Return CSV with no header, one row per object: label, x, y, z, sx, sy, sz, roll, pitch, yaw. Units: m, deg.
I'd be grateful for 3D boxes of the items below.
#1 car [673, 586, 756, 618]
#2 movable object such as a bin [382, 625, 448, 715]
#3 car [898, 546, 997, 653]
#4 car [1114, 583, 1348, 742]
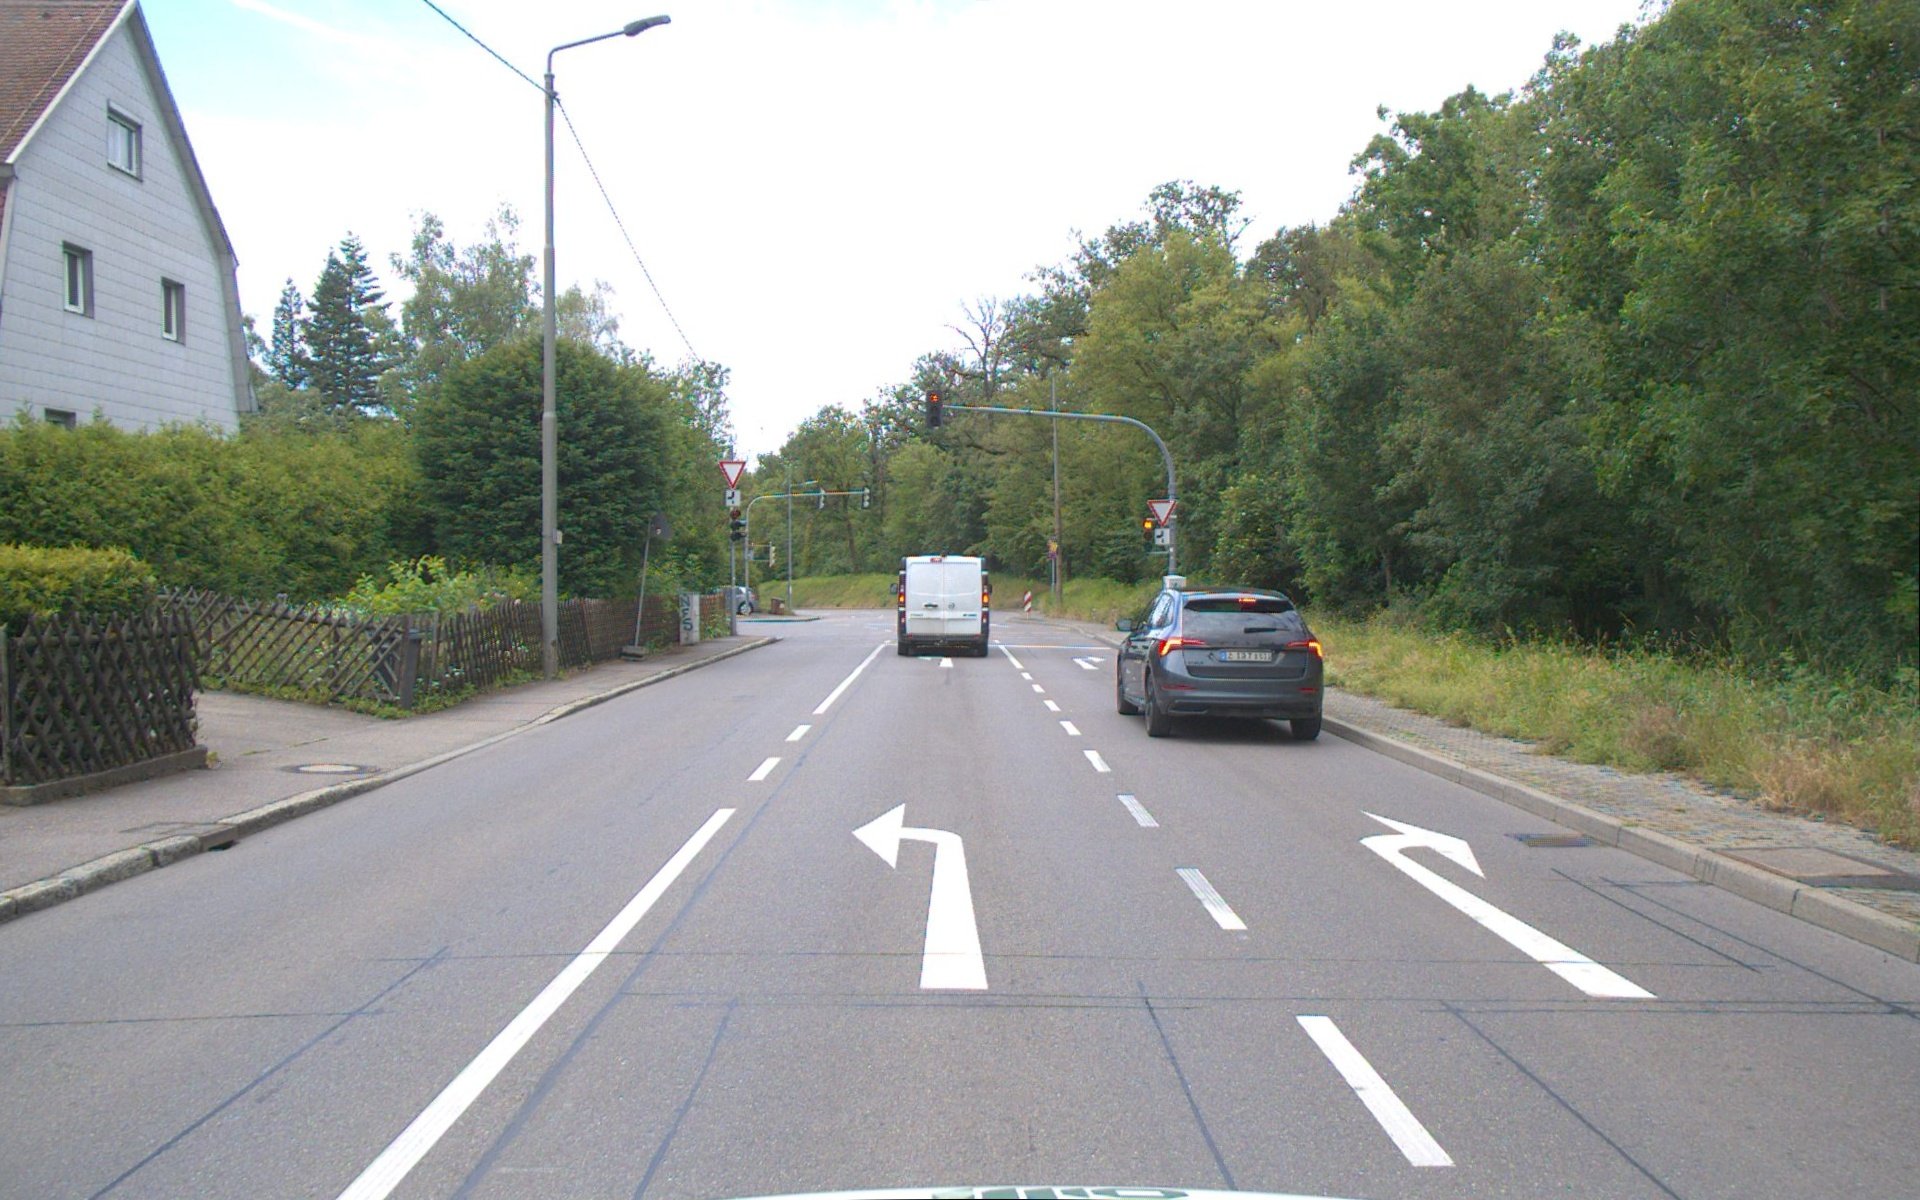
car,-12.567,0.089,84.654,4.022,1.580,1.846,0,1,-18
movable object such as a bin,-6.015,0.767,18.275,0.539,0.954,0.538,0,1,1
car,-0.324,-0.036,34.530,1.878,2.089,4.612,0,1,-3
car,2.726,0.563,17.462,1.756,1.476,3.999,0,1,-1
